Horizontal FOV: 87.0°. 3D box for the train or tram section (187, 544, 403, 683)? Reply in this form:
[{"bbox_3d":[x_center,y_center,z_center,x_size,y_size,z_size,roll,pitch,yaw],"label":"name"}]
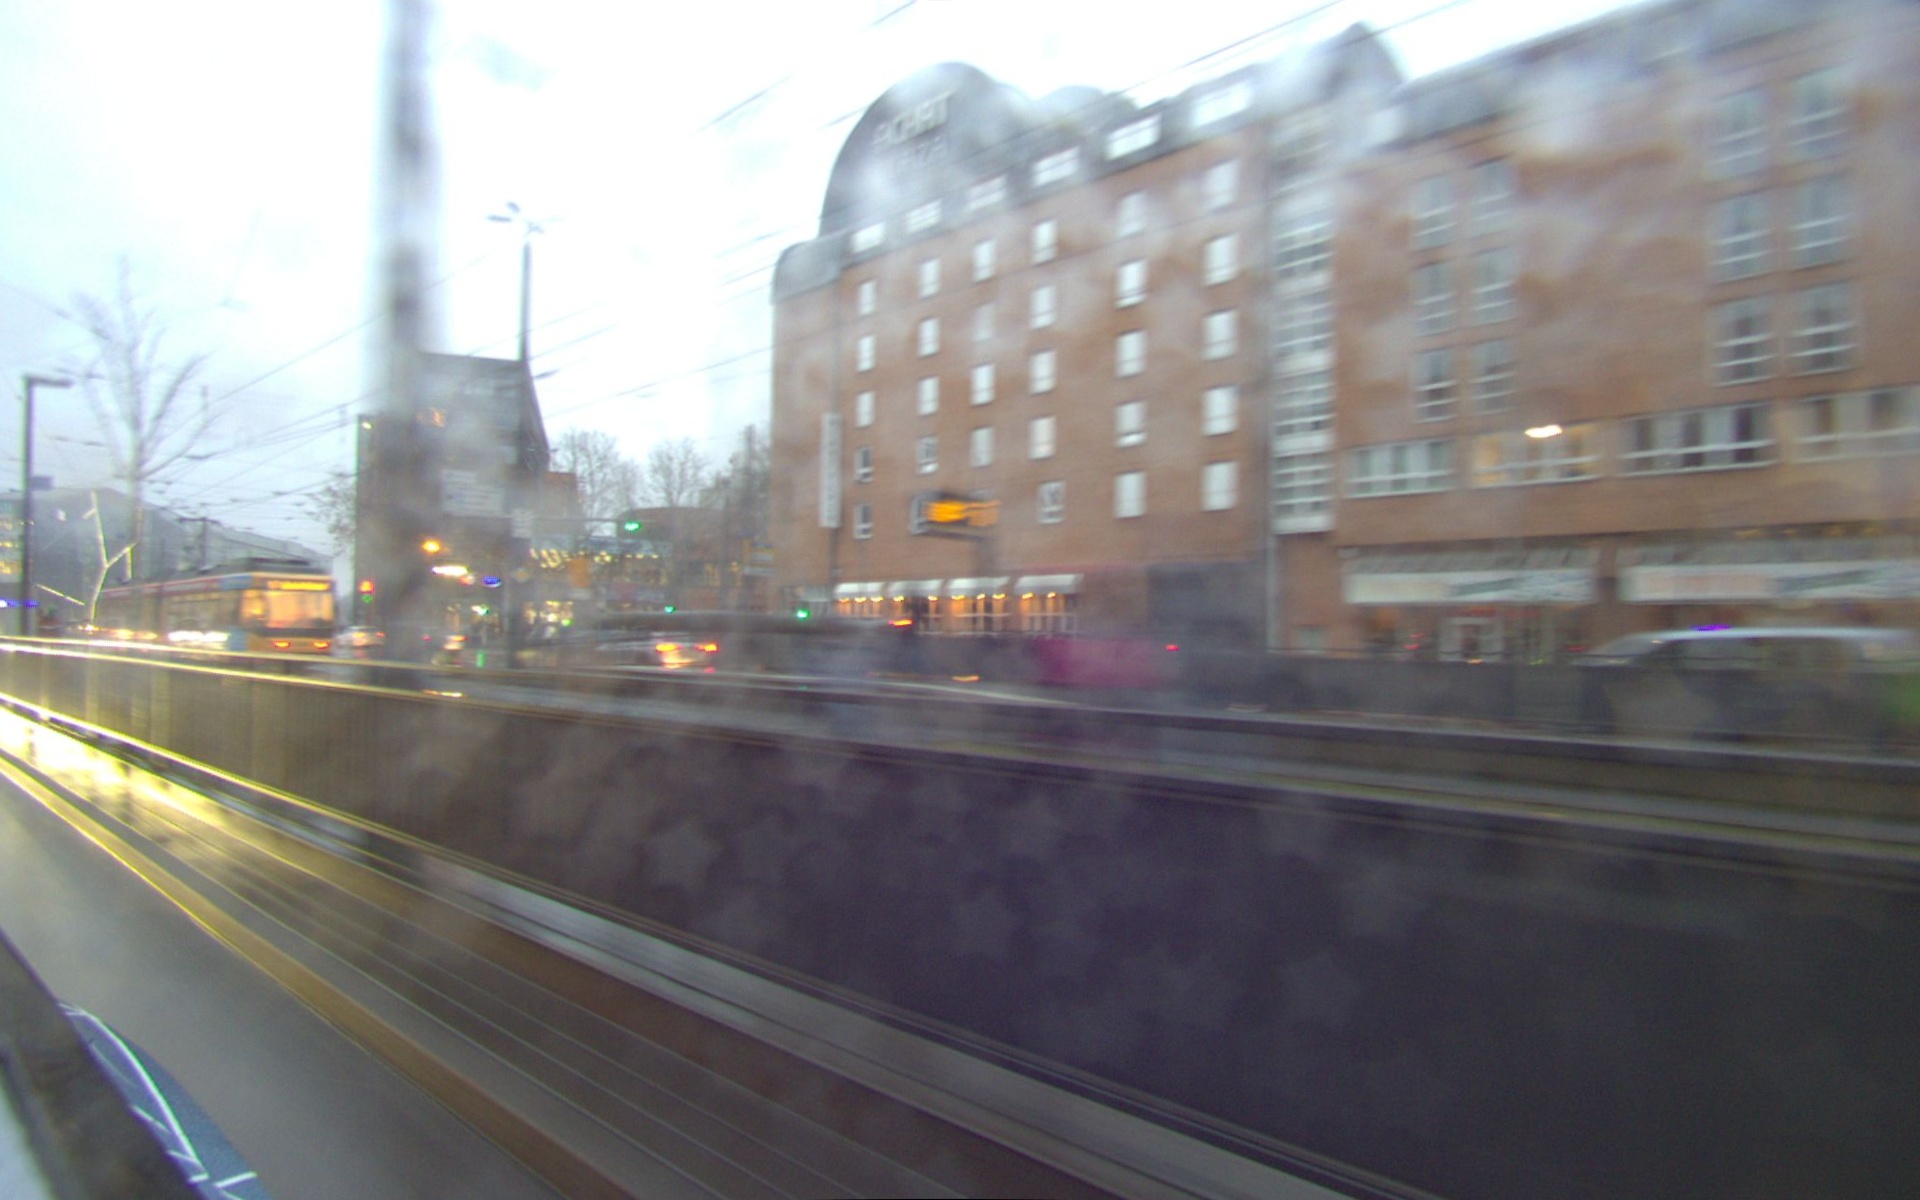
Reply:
[{"bbox_3d":[-20.624,0.433,30.954,11.032,3.595,2.868,-1,-1,42],"label":"train or tram section"}]

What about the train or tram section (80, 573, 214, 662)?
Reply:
[{"bbox_3d":[-37.390,0.824,46.283,12.252,3.616,2.918,-1,-1,42],"label":"train or tram section"}]

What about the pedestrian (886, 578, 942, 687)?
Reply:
[{"bbox_3d":[-0.815,0.574,18.177,0.787,1.901,0.879,0,-2,15],"label":"pedestrian"}]

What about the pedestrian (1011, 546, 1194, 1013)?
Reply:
[{"bbox_3d":[0.570,0.656,4.042,0.563,1.691,0.476,-1,-2,39],"label":"pedestrian"}]

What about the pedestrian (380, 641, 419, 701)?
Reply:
[{"bbox_3d":[-11.330,1.428,20.474,0.490,1.161,0.573,-1,-1,43],"label":"pedestrian"}]

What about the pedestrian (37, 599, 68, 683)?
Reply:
[{"bbox_3d":[-21.794,0.974,24.312,0.472,1.982,0.429,-1,-2,37],"label":"pedestrian"}]

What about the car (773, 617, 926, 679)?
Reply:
[{"bbox_3d":[-2.662,1.087,24.045,3.544,1.364,1.664,-1,-1,41],"label":"car"}]

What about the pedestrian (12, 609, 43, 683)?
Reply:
[{"bbox_3d":[-22.423,1.091,24.338,0.472,1.748,0.429,-1,-2,37],"label":"pedestrian"}]

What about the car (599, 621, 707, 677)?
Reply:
[{"bbox_3d":[-9.015,1.392,29.603,3.323,1.528,1.501,-1,-1,41],"label":"car"}]

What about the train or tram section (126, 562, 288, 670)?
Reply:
[{"bbox_3d":[-28.784,0.622,38.405,11.032,3.605,2.893,-1,-1,42],"label":"train or tram section"}]

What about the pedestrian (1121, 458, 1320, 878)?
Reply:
[{"bbox_3d":[1.110,0.265,4.305,0.621,1.602,0.612,-1,-2,39],"label":"pedestrian"}]

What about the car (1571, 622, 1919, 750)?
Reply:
[{"bbox_3d":[9.867,0.970,12.668,3.544,1.364,1.800,-1,-1,41],"label":"car"}]

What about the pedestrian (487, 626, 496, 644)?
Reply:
[{"bbox_3d":[-46.865,3.512,101.139,0.715,1.721,0.696,2,-3,-29],"label":"pedestrian"}]

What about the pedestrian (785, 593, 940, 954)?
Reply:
[{"bbox_3d":[-0.468,0.779,4.872,0.563,1.602,0.476,-1,-2,39],"label":"pedestrian"}]
